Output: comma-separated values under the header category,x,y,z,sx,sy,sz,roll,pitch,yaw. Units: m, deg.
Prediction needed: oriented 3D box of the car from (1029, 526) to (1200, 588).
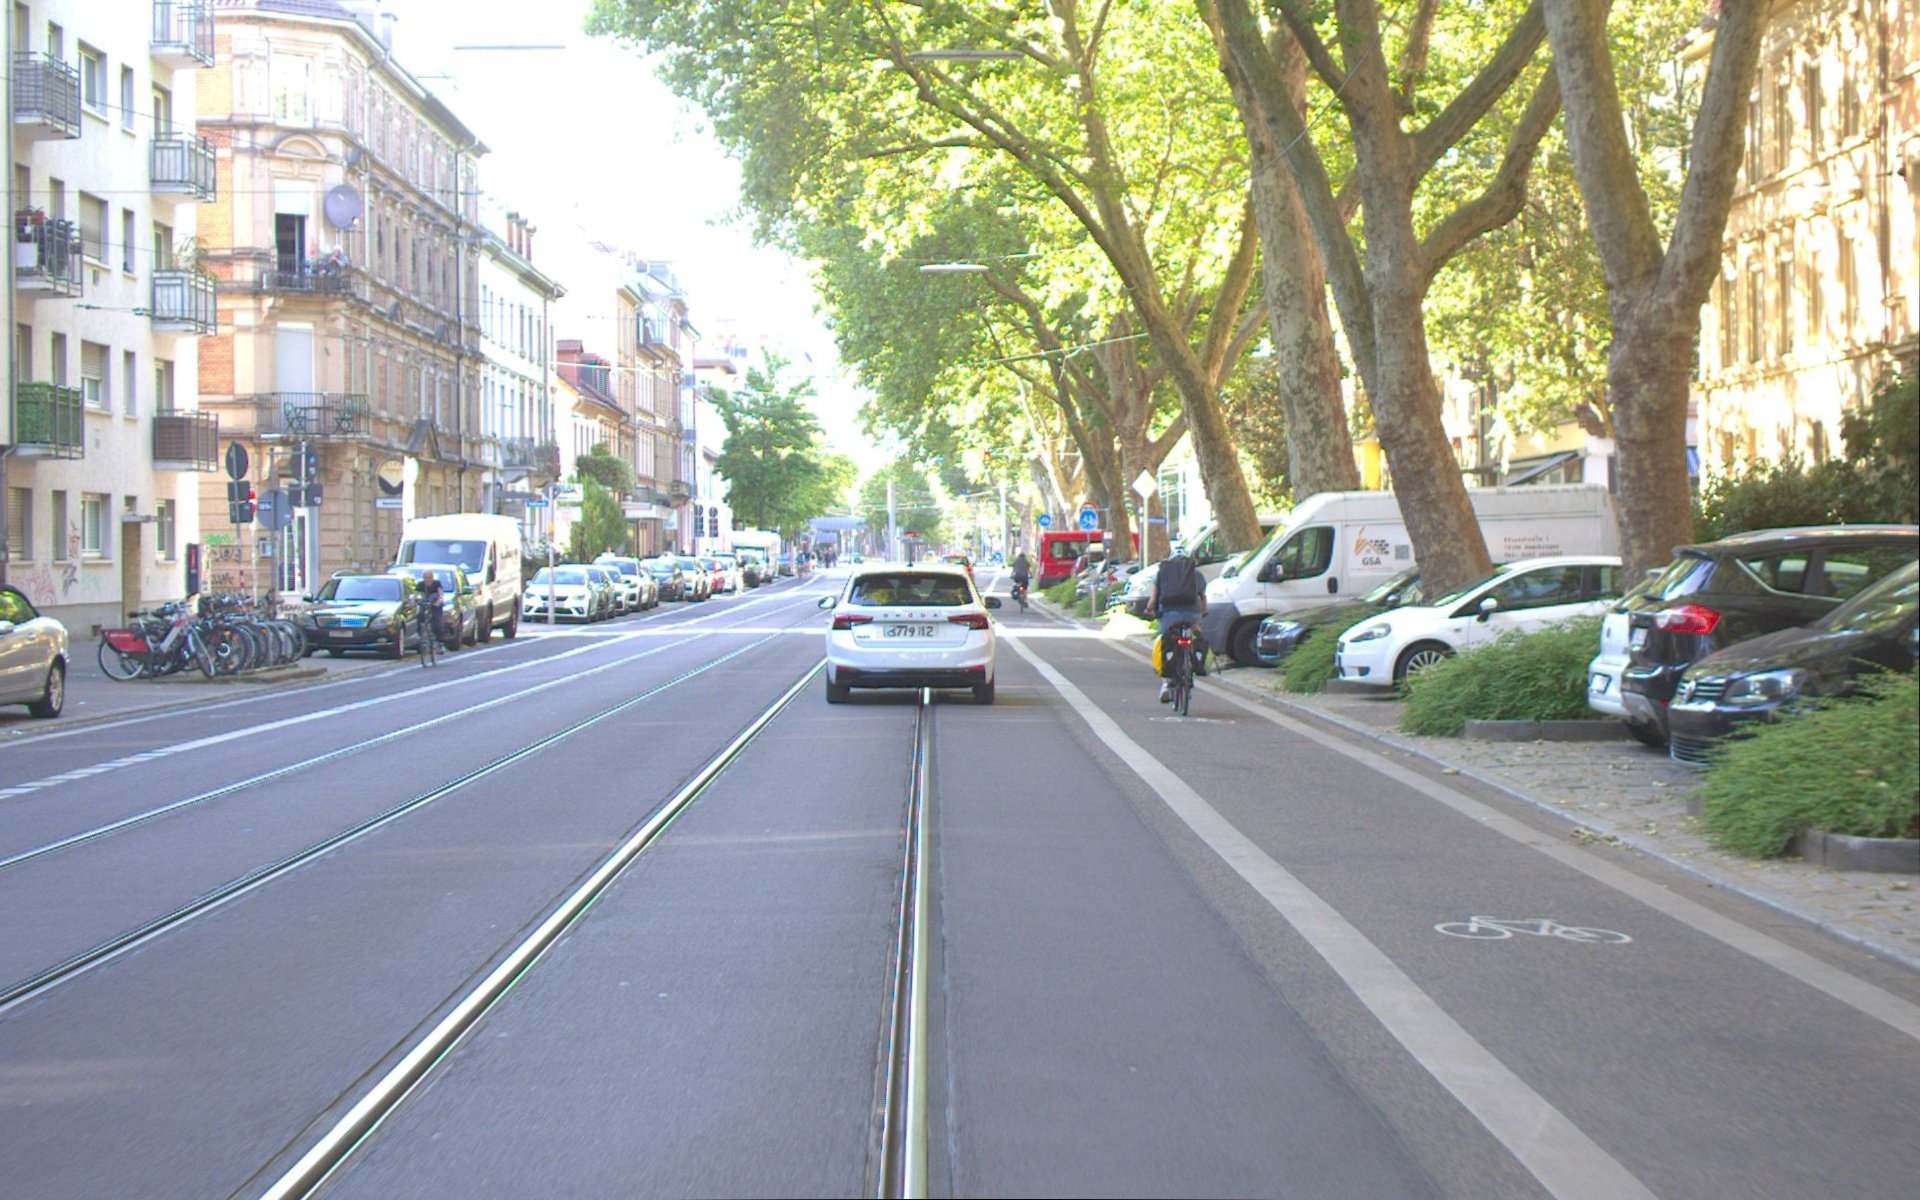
category,x,y,z,sx,sy,sz,roll,pitch,yaw
car,5.709,-1.589,127.294,6.130,2.274,2.529,0,1,-2

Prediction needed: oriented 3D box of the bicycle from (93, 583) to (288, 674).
category,x,y,z,sx,sy,sz,roll,pitch,yaw
bicycle,-10.540,0.388,47.158,2.524,1.168,0.719,2,-1,-6

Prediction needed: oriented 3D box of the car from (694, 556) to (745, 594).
category,x,y,z,sx,sy,sz,roll,pitch,yaw
car,-10.626,-1.116,152.186,1.993,1.634,4.000,1,0,0

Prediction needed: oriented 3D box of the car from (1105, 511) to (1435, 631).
category,x,y,z,sx,sy,sz,roll,pitch,yaw
car,5.988,-0.578,67.073,6.130,2.274,2.529,0,1,-2

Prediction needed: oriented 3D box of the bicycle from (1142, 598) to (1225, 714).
category,x,y,z,sx,sy,sz,roll,pitch,yaw
bicycle,2.154,0.528,33.252,0.681,1.067,1.781,-1,1,0

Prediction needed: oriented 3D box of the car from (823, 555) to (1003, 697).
category,x,y,z,sx,sy,sz,roll,pitch,yaw
car,-0.467,0.226,35.840,1.761,1.379,4.000,-1,1,0

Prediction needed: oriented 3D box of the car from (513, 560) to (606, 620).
category,x,y,z,sx,sy,sz,roll,pitch,yaw
car,-10.506,-0.286,90.358,1.993,1.525,4.000,0,1,0

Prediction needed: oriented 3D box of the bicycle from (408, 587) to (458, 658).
category,x,y,z,sx,sy,sz,roll,pitch,yaw
bicycle,-8.222,0.338,53.674,0.605,1.067,1.583,-1,1,-3

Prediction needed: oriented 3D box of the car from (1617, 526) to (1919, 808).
category,x,y,z,sx,sy,sz,roll,pitch,yaw
car,6.376,0.374,21.287,4.234,1.661,1.848,0,1,-1

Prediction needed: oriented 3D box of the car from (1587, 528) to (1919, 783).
category,x,y,z,sx,sy,sz,roll,pitch,yaw
car,6.465,0.349,23.593,3.986,1.674,1.723,0,1,-1

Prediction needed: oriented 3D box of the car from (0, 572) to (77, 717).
category,x,y,z,sx,sy,sz,roll,pitch,yaw
car,-10.067,0.432,34.119,1.485,1.398,3.990,0,1,2

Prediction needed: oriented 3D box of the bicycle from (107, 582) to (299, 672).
category,x,y,z,sx,sy,sz,roll,pitch,yaw
bicycle,-10.564,0.377,48.044,2.524,1.168,0.719,2,-1,-5

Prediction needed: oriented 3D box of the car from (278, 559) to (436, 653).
category,x,y,z,sx,sy,sz,roll,pitch,yaw
car,-10.185,0.071,58.306,1.993,1.525,4.000,0,1,0

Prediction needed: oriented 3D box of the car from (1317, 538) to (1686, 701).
category,x,y,z,sx,sy,sz,roll,pitch,yaw
car,5.651,0.186,36.204,3.634,1.661,1.822,0,1,2

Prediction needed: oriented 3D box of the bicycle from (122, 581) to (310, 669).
category,x,y,z,sx,sy,sz,roll,pitch,yaw
bicycle,-10.598,0.362,49.032,2.524,1.168,0.719,2,-1,-5

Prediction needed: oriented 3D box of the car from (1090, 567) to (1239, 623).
category,x,y,z,sx,sy,sz,roll,pitch,yaw
car,5.713,-0.141,96.551,4.049,1.535,2.000,0,1,-1

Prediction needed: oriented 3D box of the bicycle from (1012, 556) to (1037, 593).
category,x,y,z,sx,sy,sz,roll,pitch,yaw
bicycle,1.892,-0.754,101.196,0.649,1.067,1.583,-1,1,-2

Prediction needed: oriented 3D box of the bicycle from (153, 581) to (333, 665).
category,x,y,z,sx,sy,sz,roll,pitch,yaw
bicycle,-10.614,0.345,50.936,2.524,1.168,0.719,2,-1,-6

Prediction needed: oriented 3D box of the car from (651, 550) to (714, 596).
category,x,y,z,sx,sy,sz,roll,pitch,yaw
car,-10.180,-0.991,126.356,1.993,1.634,4.000,1,0,0

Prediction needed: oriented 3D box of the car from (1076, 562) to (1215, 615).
category,x,y,z,sx,sy,sz,roll,pitch,yaw
car,5.551,-0.349,103.098,4.049,1.535,2.000,0,1,-1

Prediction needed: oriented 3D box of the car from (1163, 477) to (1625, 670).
category,x,y,z,sx,sy,sz,roll,pitch,yaw
car,6.042,-0.380,48.453,6.130,2.626,2.529,0,1,-2

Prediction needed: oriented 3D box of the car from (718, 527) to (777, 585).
category,x,y,z,sx,sy,sz,roll,pitch,yaw
car,-11.905,-2.437,192.910,2.968,3.145,5.847,1,0,0

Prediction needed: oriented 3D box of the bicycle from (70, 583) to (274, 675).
category,x,y,z,sx,sy,sz,roll,pitch,yaw
bicycle,-10.594,0.395,46.275,2.525,1.168,0.883,2,-1,-40

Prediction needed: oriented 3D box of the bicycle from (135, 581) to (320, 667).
category,x,y,z,sx,sy,sz,roll,pitch,yaw
bicycle,-10.609,0.350,49.882,2.524,1.168,0.719,2,-1,-5

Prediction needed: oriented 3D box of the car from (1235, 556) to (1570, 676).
category,x,y,z,sx,sy,sz,roll,pitch,yaw
car,5.831,0.191,45.626,4.048,1.535,2.000,0,1,-6

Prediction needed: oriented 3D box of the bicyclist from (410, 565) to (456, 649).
category,x,y,z,sx,sy,sz,roll,pitch,yaw
bicyclist,-8.217,0.104,53.628,0.597,1.282,0.917,-1,1,-3

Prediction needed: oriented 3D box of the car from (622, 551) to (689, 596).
category,x,y,z,sx,sy,sz,roll,pitch,yaw
car,-10.588,-0.937,119.666,1.993,1.525,4.000,0,1,0

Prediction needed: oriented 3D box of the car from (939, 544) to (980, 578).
category,x,y,z,sx,sy,sz,roll,pitch,yaw
car,-0.034,-1.747,152.842,1.761,1.470,4.000,-1,1,0

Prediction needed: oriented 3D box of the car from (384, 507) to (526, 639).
category,x,y,z,sx,sy,sz,roll,pitch,yaw
car,-10.241,-0.565,70.025,2.178,2.588,4.949,0,1,0

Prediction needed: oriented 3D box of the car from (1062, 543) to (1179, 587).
category,x,y,z,sx,sy,sz,roll,pitch,yaw
car,5.702,-1.262,122.604,4.049,1.535,2.000,0,1,-1

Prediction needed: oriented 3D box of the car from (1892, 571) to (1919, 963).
category,x,y,z,sx,sy,sz,roll,pitch,yaw
car,5.783,0.643,12.678,4.142,1.509,1.931,0,1,-1

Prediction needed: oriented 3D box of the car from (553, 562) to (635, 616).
category,x,y,z,sx,sy,sz,roll,pitch,yaw
car,-10.569,-0.329,99.513,1.993,1.525,4.000,0,1,0

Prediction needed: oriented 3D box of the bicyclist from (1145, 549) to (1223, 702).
category,x,y,z,sx,sy,sz,roll,pitch,yaw
bicyclist,2.153,0.234,33.168,0.678,1.438,1.047,-1,1,0

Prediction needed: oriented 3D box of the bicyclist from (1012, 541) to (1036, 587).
category,x,y,z,sx,sy,sz,roll,pitch,yaw
bicyclist,1.886,-1.071,101.133,0.649,1.339,0.934,-1,1,-2

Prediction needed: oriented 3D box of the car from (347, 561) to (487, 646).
category,x,y,z,sx,sy,sz,roll,pitch,yaw
car,-10.083,0.040,64.087,1.993,1.525,4.000,0,1,0

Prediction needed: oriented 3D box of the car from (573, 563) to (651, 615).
category,x,y,z,sx,sy,sz,roll,pitch,yaw
car,-10.532,-0.351,104.322,1.993,1.525,4.000,0,1,0
